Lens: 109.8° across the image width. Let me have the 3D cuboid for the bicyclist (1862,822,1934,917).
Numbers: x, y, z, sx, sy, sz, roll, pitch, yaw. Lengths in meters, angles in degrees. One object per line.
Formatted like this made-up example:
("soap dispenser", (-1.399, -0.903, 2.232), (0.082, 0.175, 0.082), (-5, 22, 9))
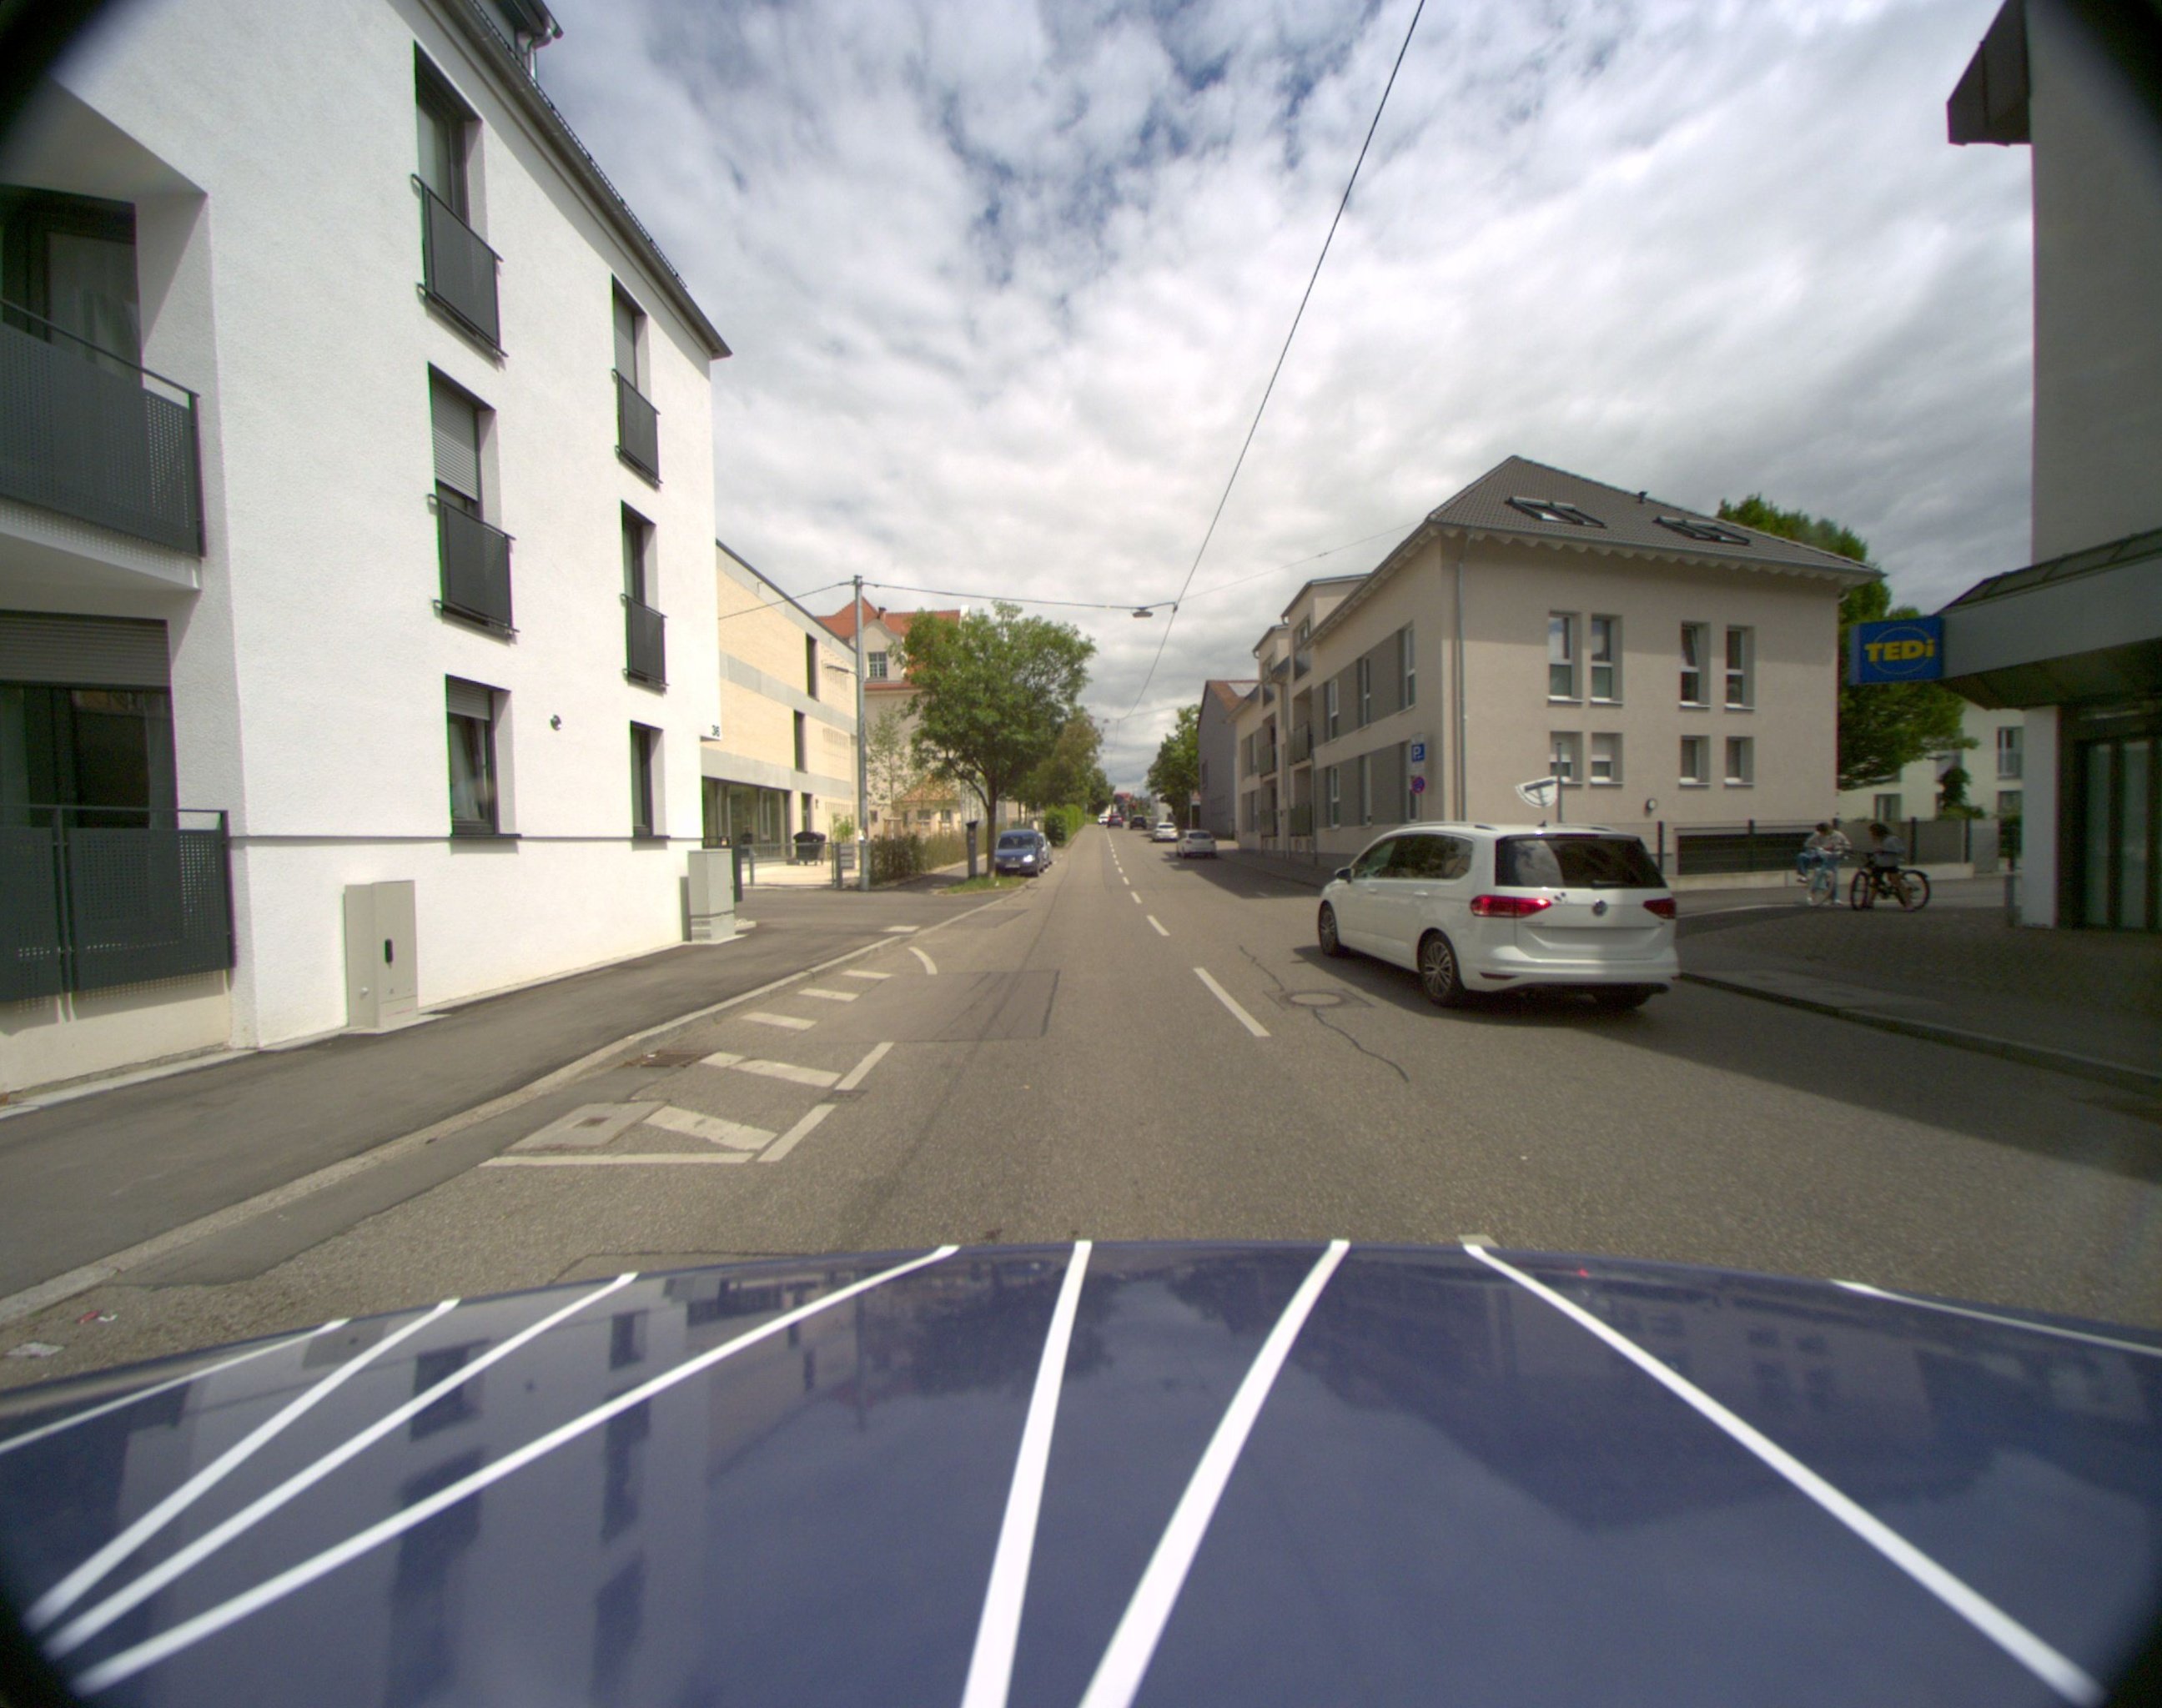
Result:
("bicyclist", (12.044, 0.220, 11.207), (0.425, 1.357, 0.588), (-2, 0, -23))

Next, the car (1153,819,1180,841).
("car", (6.432, -1.855, 57.520), (1.737, 1.480, 4.064), (0, 4, 1))

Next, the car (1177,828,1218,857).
("car", (6.032, -0.633, 39.580), (1.665, 1.323, 3.471), (-1, 4, 1))

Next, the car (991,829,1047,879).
("car", (-2.309, -0.068, 29.288), (1.698, 1.733, 4.158), (-1, 2, 1))

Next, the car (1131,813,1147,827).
("car", (6.918, -4.119, 90.624), (1.672, 1.546, 3.963), (0, 4, 1))

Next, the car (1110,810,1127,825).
("car", (4.808, -4.686, 97.887), (1.946, 1.709, 4.596), (0, 2, 0))

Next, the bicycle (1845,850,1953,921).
("bicycle", (12.113, 0.439, 11.247), (1.693, 0.949, 0.554), (-2, 1, -23))

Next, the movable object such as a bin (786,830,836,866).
("movable object such as a bin", (-11.421, -0.269, 32.251), (1.351, 1.439, 1.806), (-2, 3, 2))

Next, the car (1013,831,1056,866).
("car", (-2.109, -0.261, 35.320), (1.677, 1.510, 3.669), (-1, 1, 1))

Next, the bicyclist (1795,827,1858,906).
("bicyclist", (12.044, 0.198, 12.290), (0.640, 1.235, 0.427), (0, 3, 34))

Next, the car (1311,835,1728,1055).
("car", (3.882, 0.632, 7.714), (1.779, 1.604, 4.118), (0, 2, -1))

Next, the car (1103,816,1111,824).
("car", (4.590, -5.919, 132.605), (1.298, 1.148, 2.983), (-3, 0, 1))

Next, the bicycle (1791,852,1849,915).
("bicycle", (11.933, 0.450, 12.294), (0.458, 0.912, 1.592), (-1, 1, 37))

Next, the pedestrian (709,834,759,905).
("pedestrian", (-8.682, 0.367, 19.053), (0.775, 1.694, 0.829), (-2, 3, 0))
